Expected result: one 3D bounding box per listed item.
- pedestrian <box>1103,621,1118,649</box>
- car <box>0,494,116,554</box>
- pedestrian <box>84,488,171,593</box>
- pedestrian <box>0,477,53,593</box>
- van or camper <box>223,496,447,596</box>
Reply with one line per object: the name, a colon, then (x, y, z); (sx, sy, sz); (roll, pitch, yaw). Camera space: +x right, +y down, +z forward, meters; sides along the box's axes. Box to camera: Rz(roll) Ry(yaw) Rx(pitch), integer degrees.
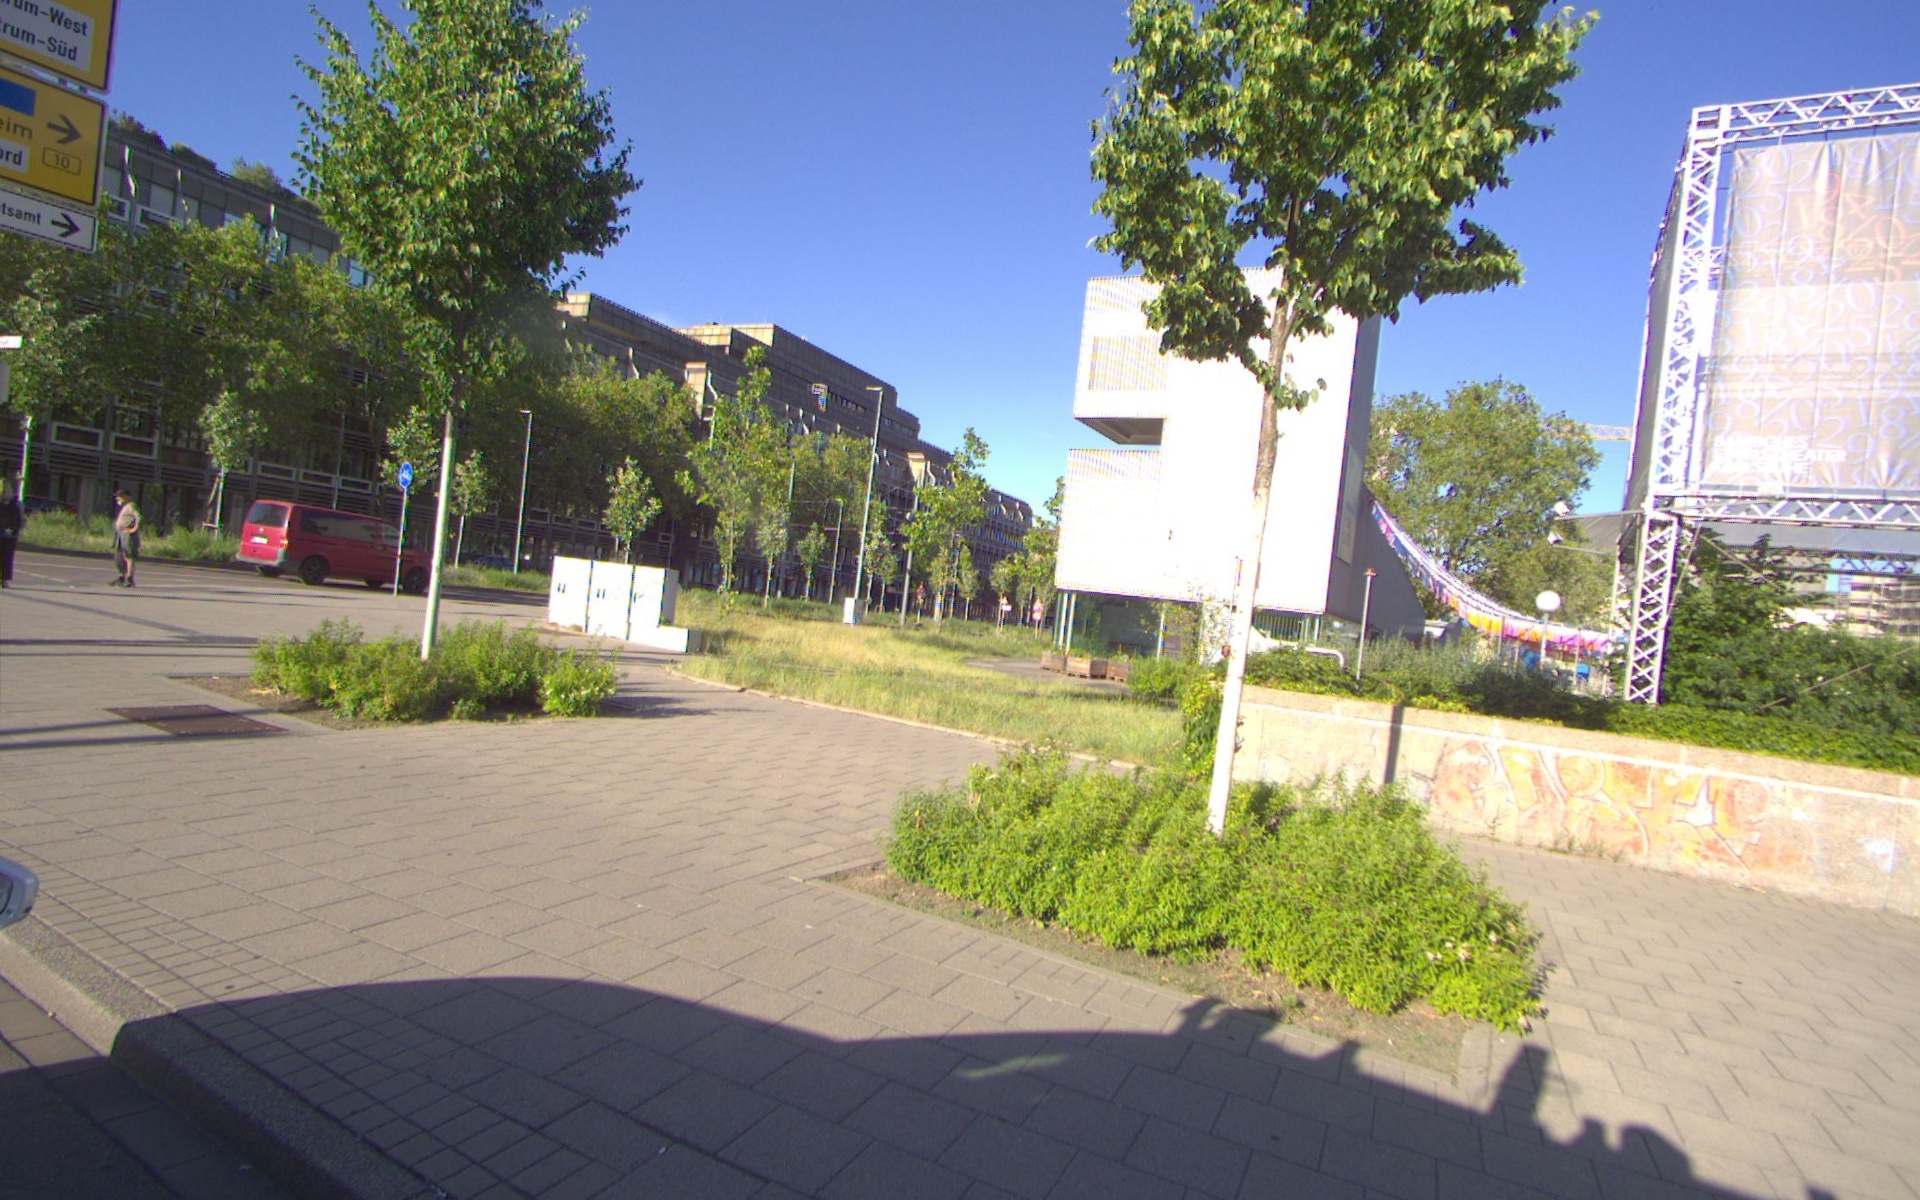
pedestrian: (9.176, 2.125, 61.236); (0.520, 1.571, 0.638); (7, -1, 31)
car: (-33.129, -2.768, 35.802); (1.792, 1.704, 4.302); (7, -1, 21)
pedestrian: (-14.914, -1.054, 18.031); (0.755, 1.728, 0.873); (7, 1, 30)
pedestrian: (-14.210, -0.986, 14.942); (0.859, 1.634, 0.767); (7, 1, 30)
van or camper: (-16.673, -1.355, 27.191); (1.969, 2.038, 4.844); (7, -1, 19)
